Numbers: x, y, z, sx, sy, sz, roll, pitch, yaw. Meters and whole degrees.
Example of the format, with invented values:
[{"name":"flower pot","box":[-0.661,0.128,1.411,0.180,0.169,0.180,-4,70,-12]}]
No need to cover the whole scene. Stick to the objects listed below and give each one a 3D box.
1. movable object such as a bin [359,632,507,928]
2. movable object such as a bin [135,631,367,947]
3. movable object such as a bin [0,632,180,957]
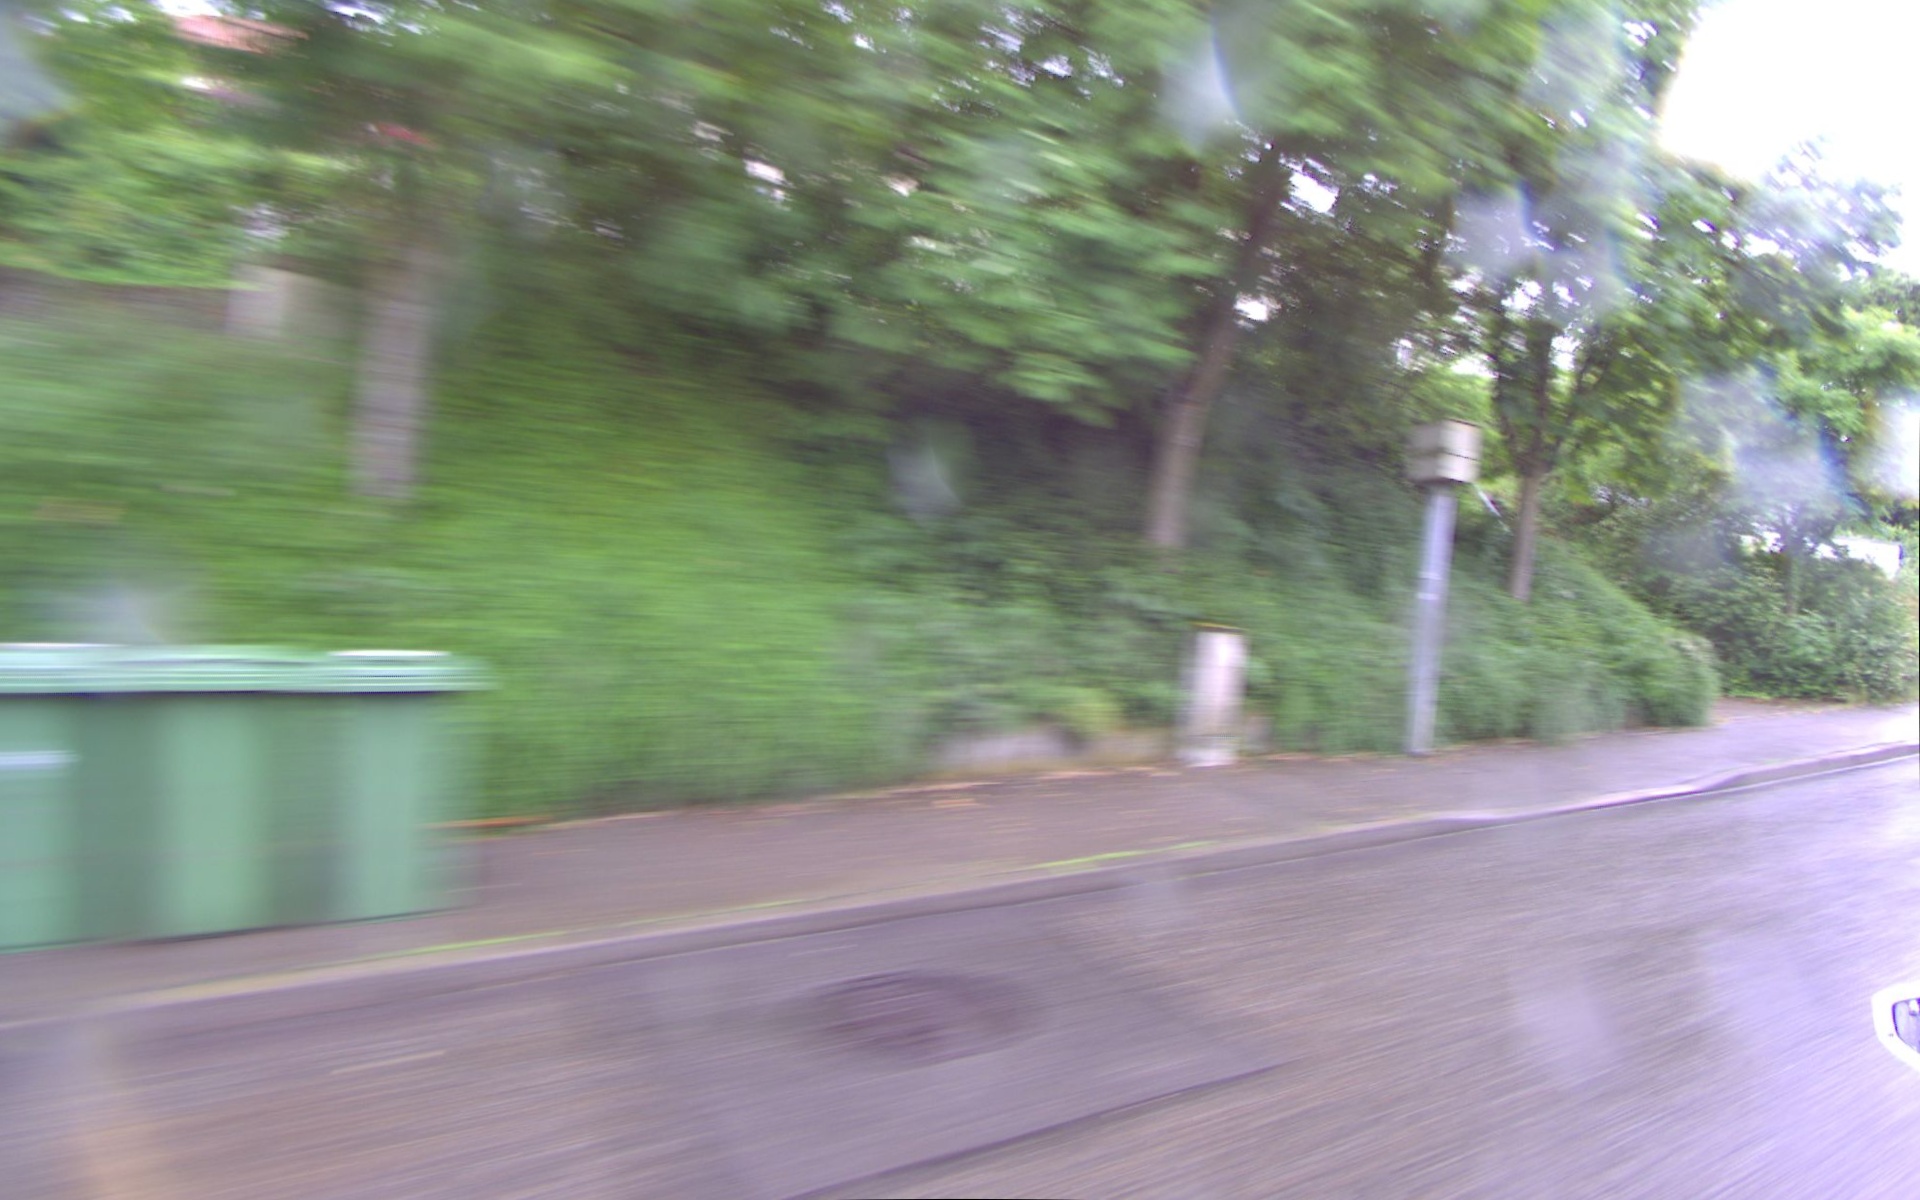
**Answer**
[{"name":"movable object such as a bin","box":[-2.260,0.718,4.323,0.499,1.130,0.645,2,0,-28]},{"name":"movable object such as a bin","box":[-2.824,0.702,4.072,0.665,1.119,0.645,2,0,-29]},{"name":"movable object such as a bin","box":[-3.424,0.682,3.764,0.665,1.095,0.645,2,0,-29]}]
